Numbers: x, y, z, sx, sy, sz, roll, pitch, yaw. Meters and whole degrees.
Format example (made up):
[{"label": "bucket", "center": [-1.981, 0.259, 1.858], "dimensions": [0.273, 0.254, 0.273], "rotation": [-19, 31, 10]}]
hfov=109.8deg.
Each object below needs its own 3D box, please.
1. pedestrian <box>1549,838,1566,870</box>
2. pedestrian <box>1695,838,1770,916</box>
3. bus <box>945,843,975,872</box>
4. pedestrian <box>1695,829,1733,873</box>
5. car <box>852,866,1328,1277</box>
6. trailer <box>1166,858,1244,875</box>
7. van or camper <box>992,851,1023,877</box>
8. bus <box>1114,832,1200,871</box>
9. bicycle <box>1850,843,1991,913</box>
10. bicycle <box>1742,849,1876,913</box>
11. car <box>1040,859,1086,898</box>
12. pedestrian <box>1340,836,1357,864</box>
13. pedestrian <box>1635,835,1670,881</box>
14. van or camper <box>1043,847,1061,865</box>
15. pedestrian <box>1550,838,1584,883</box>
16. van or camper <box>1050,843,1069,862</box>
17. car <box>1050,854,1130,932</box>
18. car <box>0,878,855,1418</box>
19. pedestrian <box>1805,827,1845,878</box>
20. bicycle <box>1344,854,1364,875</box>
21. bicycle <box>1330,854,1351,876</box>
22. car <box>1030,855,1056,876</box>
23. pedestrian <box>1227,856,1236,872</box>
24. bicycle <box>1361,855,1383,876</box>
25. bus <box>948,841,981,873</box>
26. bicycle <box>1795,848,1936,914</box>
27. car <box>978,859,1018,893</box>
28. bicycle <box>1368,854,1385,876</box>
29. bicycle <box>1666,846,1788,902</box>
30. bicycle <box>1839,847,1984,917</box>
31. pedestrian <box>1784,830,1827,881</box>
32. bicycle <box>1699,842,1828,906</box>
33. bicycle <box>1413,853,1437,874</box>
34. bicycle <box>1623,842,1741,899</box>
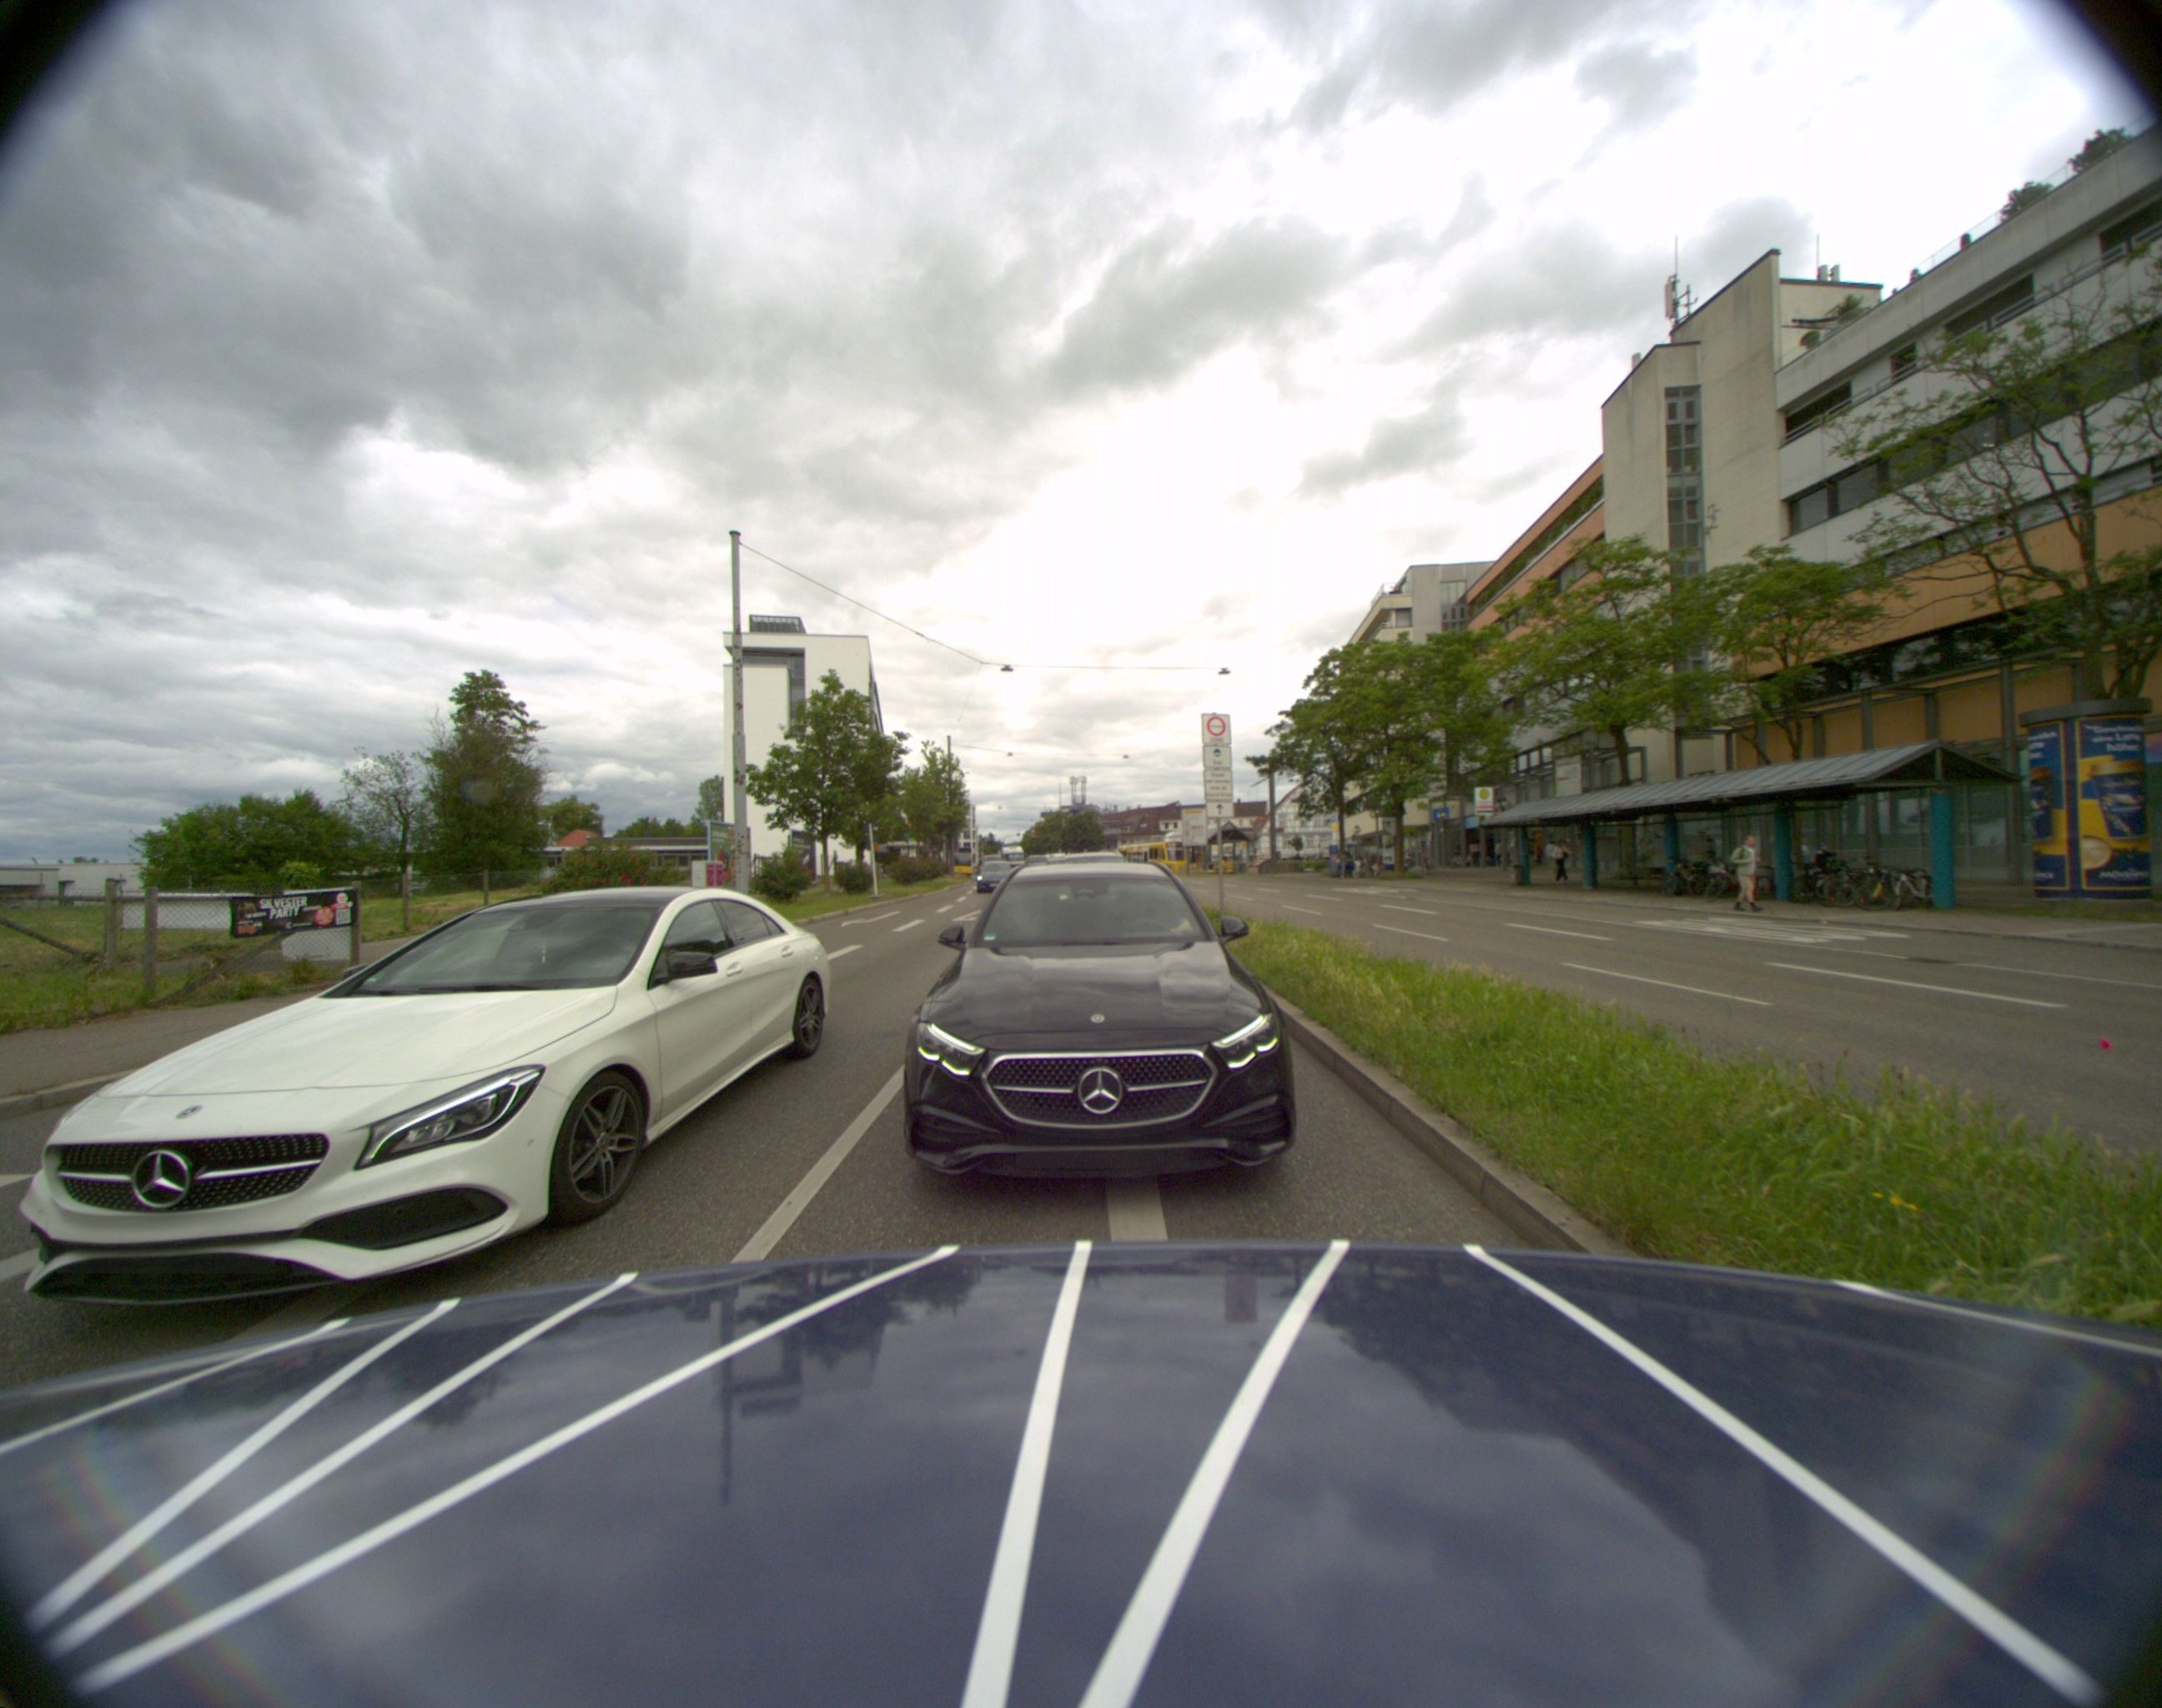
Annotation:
[{"label": "pedestrian", "center": [24.104, -0.010, 38.450], "dimensions": [0.633, 1.591, 0.624], "rotation": [-3, 1, 35]}, {"label": "pedestrian", "center": [15.925, 0.544, 18.607], "dimensions": [0.705, 1.812, 1.213], "rotation": [-3, 1, -3]}, {"label": "bus", "center": [-14.474, 0.501, 90.541], "dimensions": [3.047, 3.216, 9.329], "rotation": [-1, -1, -12]}, {"label": "pedestrian", "center": [25.410, -0.113, 30.516], "dimensions": [0.772, 1.706, 0.789], "rotation": [-3, 1, -8]}, {"label": "car", "center": [-0.021, 0.931, 5.534], "dimensions": [1.873, 1.542, 4.773], "rotation": [-4, -1, -2]}, {"label": "trailer", "center": [10.924, 1.130, 68.790], "dimensions": [2.851, 1.325, 12.115], "rotation": [-1, -1, -12]}, {"label": "van or camper", "center": [-5.640, 0.746, 58.639], "dimensions": [1.809, 1.867, 4.849], "rotation": [-2, 0, 0]}, {"label": "bus", "center": [7.950, -0.092, 84.347], "dimensions": [3.891, 3.836, 19.323], "rotation": [-1, -1, -12]}, {"label": "bicycle", "center": [18.960, 0.524, 17.169], "dimensions": [2.908, 1.498, 0.598], "rotation": [-1, 0, -8]}, {"label": "bicycle", "center": [18.297, 0.661, 19.116], "dimensions": [2.908, 1.498, 0.805], "rotation": [-1, 0, -8]}, {"label": "car", "center": [-0.705, 0.980, 31.824], "dimensions": [1.735, 1.474, 4.369], "rotation": [-2, 0, 0]}, {"label": "pedestrian", "center": [18.320, -0.259, 52.016], "dimensions": [0.747, 1.866, 0.873], "rotation": [-1, 0, -8]}, {"label": "pedestrian", "center": [21.859, 0.136, 29.071], "dimensions": [0.774, 1.706, 0.787], "rotation": [-3, 1, 17]}, {"label": "van or camper", "center": [-4.301, 0.321, 111.875], "dimensions": [2.000, 2.582, 6.111], "rotation": [1, -1, -9]}, {"label": "pedestrian", "center": [19.384, 0.258, 30.319], "dimensions": [0.777, 1.703, 0.706], "rotation": [-3, 1, -6]}, {"label": "van or camper", "center": [-2.971, -0.179, 104.301], "dimensions": [2.039, 2.582, 6.112], "rotation": [1, -1, -7]}, {"label": "car", "center": [0.206, 0.889, 19.127], "dimensions": [1.735, 1.680, 4.369], "rotation": [-2, 0, 0]}, {"label": "car", "center": [-3.070, 0.996, 4.732], "dimensions": [1.872, 1.496, 4.773], "rotation": [-3, 0, -1]}, {"label": "pedestrian", "center": [24.168, -0.040, 24.679], "dimensions": [0.634, 1.591, 0.622], "rotation": [-3, 0, -5]}, {"label": "bicycle", "center": [15.325, 0.586, 42.608], "dimensions": [0.603, 1.154, 1.969], "rotation": [-1, -1, 32]}, {"label": "bicycle", "center": [14.780, 0.618, 43.305], "dimensions": [0.603, 1.154, 1.969], "rotation": [-3, -1, 33]}, {"label": "car", "center": [-2.944, 0.883, 59.122], "dimensions": [1.735, 1.544, 4.369], "rotation": [-2, 0, 0]}, {"label": "pedestrian", "center": [14.249, 0.948, 72.024], "dimensions": [0.601, 1.564, 0.620], "rotation": [-1, 0, -10]}, {"label": "bicycle", "center": [16.436, 0.626, 42.957], "dimensions": [0.604, 1.154, 1.966], "rotation": [-1, -1, 4]}, {"label": "bus", "center": [-12.545, 0.362, 81.290], "dimensions": [2.993, 3.222, 9.856], "rotation": [-1, 0, -12]}, {"label": "bicycle", "center": [18.746, 0.633, 18.174], "dimensions": [2.908, 1.498, 0.778], "rotation": [-1, 0, -8]}, {"label": "car", "center": [-4.027, 1.025, 36.938], "dimensions": [1.736, 1.474, 4.367], "rotation": [-2, 0, -6]}, {"label": "bicycle", "center": [16.153, 0.605, 41.517], "dimensions": [0.603, 1.154, 1.693], "rotation": [-1, -1, 31]}, {"label": "bicycle", "center": [18.004, 0.544, 21.200], "dimensions": [2.908, 1.498, 0.891], "rotation": [-1, 0, -8]}, {"label": "bicycle", "center": [18.937, 0.620, 17.346], "dimensions": [2.908, 1.498, 0.700], "rotation": [-1, 0, -8]}, {"label": "pedestrian", "center": [23.435, 0.054, 24.590], "dimensions": [0.668, 1.574, 0.706], "rotation": [-3, 1, -6]}, {"label": "bicycle", "center": [18.150, 0.517, 20.226], "dimensions": [2.908, 1.498, 0.811], "rotation": [-3, 0, -7]}, {"label": "bicycle", "center": [19.145, 0.517, 42.272], "dimensions": [0.672, 1.154, 2.023], "rotation": [-1, -1, 39]}, {"label": "bicycle", "center": [17.845, 0.480, 22.588], "dimensions": [2.908, 1.498, 0.972], "rotation": [-3, 0, -8]}]
